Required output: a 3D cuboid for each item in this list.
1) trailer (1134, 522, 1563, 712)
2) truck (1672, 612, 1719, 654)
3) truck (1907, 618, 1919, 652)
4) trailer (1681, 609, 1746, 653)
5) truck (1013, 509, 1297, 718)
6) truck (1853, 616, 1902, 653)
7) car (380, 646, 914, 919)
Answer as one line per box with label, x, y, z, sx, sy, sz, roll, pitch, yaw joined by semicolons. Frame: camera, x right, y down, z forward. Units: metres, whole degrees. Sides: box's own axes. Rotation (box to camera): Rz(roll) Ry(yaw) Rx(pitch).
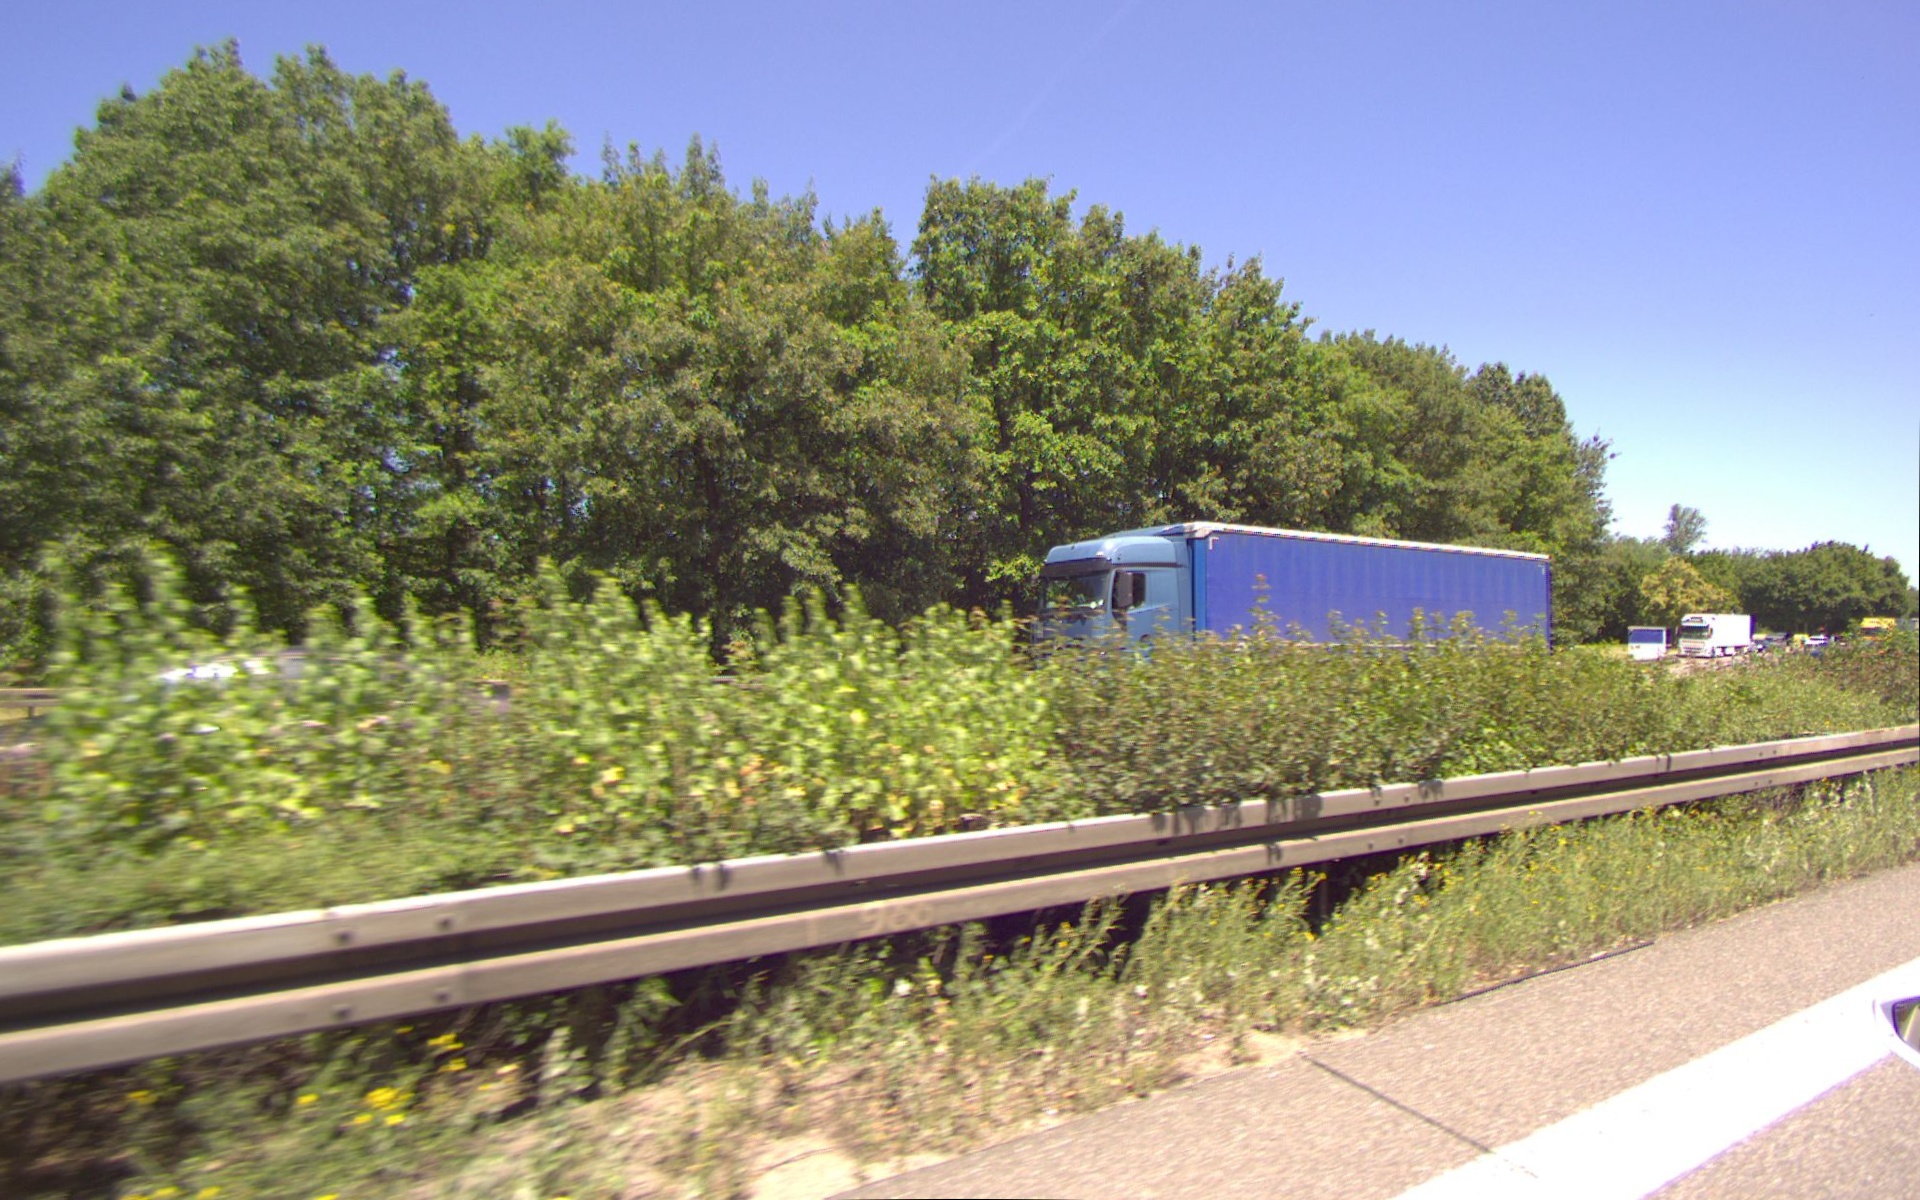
trailer;10.602;0.551;26.046;13.655;4.024;2.827;2;-1;-32
truck;68.366;3.092;93.365;4.655;3.818;2.587;2;-2;-41
truck;119.812;4.356;124.011;9.907;4.024;2.591;2;-1;-37
trailer;73.522;3.055;97.909;12.507;4.023;2.587;2;-2;-41
truck;4.340;0.345;22.070;5.808;4.024;2.801;2;-1;-32
truck;102.172;3.842;111.812;9.915;4.023;2.589;2;-2;-39
car;-2.545;1.289;8.409;3.955;1.743;1.767;2;-1;-31
